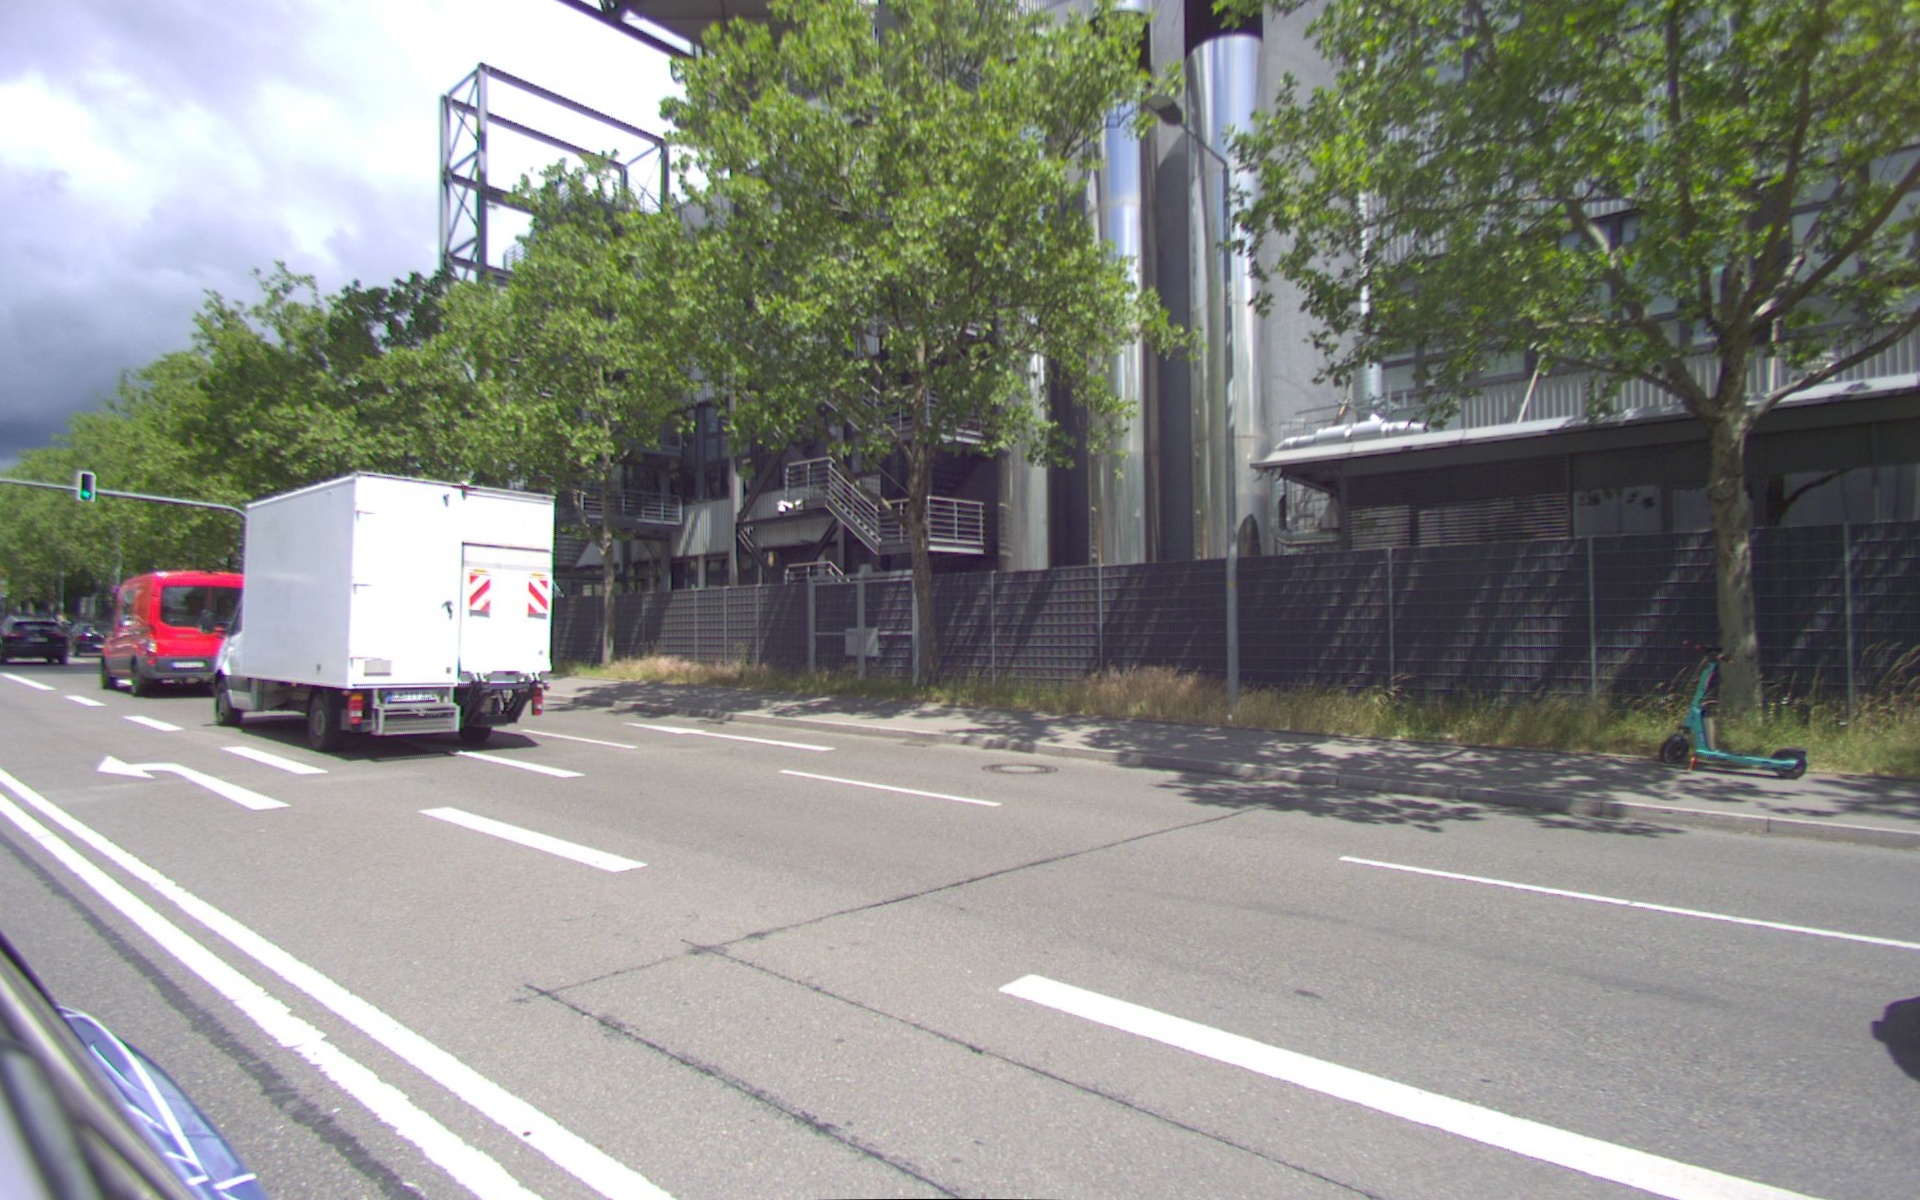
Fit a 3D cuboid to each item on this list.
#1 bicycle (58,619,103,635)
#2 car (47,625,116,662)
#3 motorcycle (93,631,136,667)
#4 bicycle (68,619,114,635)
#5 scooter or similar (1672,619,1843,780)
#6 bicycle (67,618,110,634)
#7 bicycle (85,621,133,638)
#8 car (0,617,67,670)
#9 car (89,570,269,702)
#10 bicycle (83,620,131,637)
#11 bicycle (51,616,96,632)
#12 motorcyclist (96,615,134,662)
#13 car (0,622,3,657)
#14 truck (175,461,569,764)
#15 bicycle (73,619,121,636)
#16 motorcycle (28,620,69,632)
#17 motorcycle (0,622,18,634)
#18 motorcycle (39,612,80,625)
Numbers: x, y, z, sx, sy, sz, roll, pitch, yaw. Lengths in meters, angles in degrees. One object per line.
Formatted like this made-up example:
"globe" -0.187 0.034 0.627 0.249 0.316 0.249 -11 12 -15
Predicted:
"bicycle" -65.247 1.975 75.088 2.526 1.093 0.616 -1 0 -43
"car" -36.844 1.807 42.409 3.917 1.439 1.560 -1 -3 41
"motorcycle" -30.544 1.744 36.551 2.372 1.229 0.668 -1 0 37
"bicycle" -64.046 1.973 74.607 2.522 1.093 0.617 -1 0 -36
"scooter or similar" 7.470 0.893 9.516 1.235 1.414 0.300 -1 0 41
"bicycle" -65.463 1.946 76.064 0.615 1.093 2.383 -1 0 40
"bicycle" -59.569 2.051 70.845 2.525 1.093 0.616 -1 0 -42
"car" -32.267 1.444 34.906 4.213 1.697 1.717 -1 -2 42
"car" -17.053 0.770 21.995 5.477 2.526 2.041 -1 -3 42
"bicycle" -59.109 1.993 70.161 2.526 1.093 0.616 -1 0 -44
"bicycle" -67.874 1.816 77.523 0.615 1.187 2.529 -1 0 41
"motorcyclist" -30.533 1.379 36.562 1.091 1.635 0.727 -1 0 32
"car" -43.283 1.691 44.390 3.611 1.516 1.541 -1 -3 42
"truck" -8.318 0.224 13.840 7.240 3.153 2.426 -1 -3 41
"bicycle" -61.451 1.945 72.111 0.614 1.093 2.536 -1 0 32
"motorcycle" -84.949 2.435 94.345 0.600 1.044 2.792 -5 -3 44
"motorcycle" -90.203 2.657 94.808 0.600 1.044 2.792 -5 -3 44
"motorcycle" -82.202 1.674 92.419 0.600 1.044 2.792 -5 -3 44
